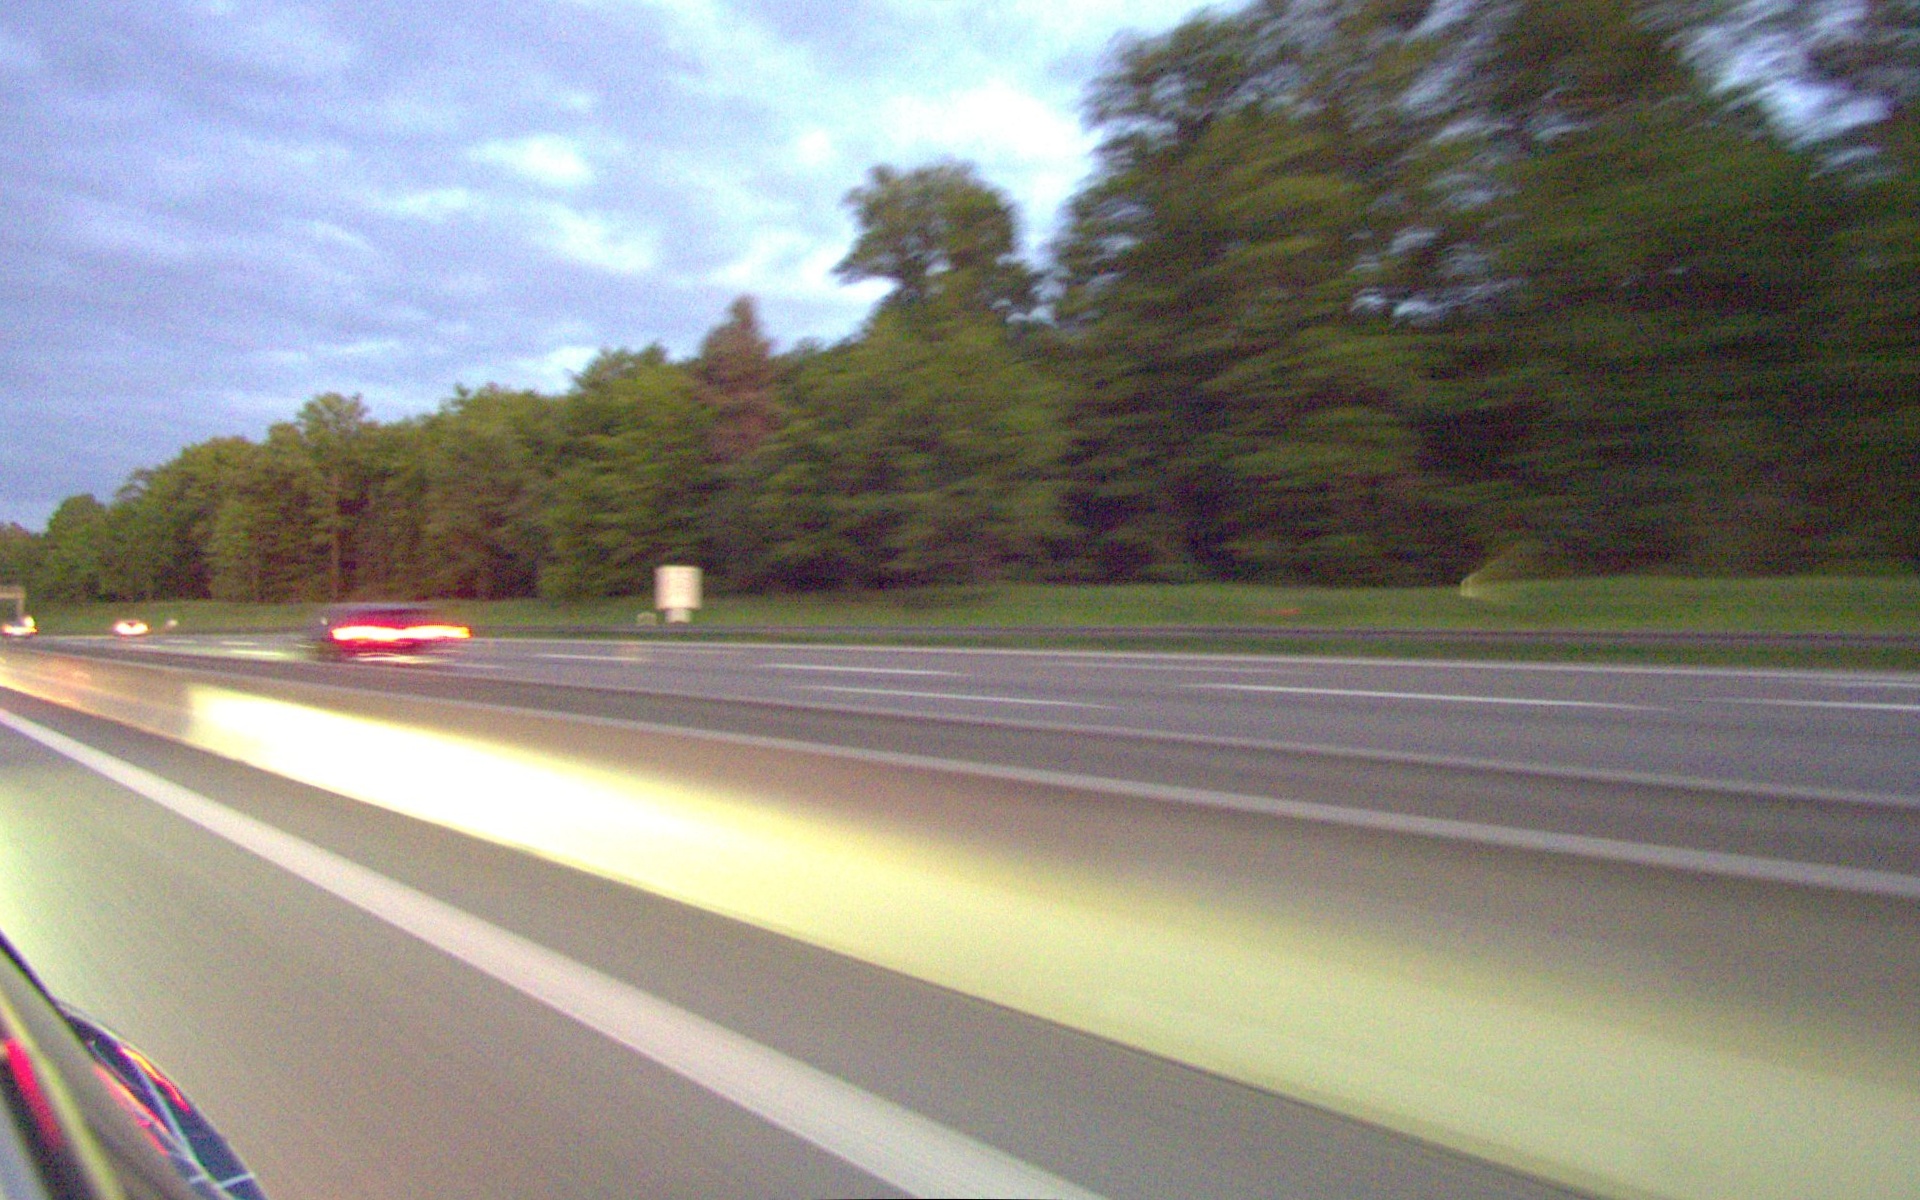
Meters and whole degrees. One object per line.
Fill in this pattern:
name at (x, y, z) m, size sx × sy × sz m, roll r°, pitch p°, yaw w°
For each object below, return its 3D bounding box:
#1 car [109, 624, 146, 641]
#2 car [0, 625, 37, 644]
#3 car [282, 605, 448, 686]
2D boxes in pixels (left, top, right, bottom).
car at (-74.645, 2.914, 90.718) m, size 3.995 × 1.474 × 1.824 m, roll -2°, pitch 0°, yaw 39°
car at (-82.207, 3.007, 87.850) m, size 4.759 × 1.474 × 1.829 m, roll -2°, pitch 0°, yaw 32°
car at (-13.774, 0.979, 23.280) m, size 5.112 × 1.651 × 1.971 m, roll -1°, pitch 0°, yaw 44°
